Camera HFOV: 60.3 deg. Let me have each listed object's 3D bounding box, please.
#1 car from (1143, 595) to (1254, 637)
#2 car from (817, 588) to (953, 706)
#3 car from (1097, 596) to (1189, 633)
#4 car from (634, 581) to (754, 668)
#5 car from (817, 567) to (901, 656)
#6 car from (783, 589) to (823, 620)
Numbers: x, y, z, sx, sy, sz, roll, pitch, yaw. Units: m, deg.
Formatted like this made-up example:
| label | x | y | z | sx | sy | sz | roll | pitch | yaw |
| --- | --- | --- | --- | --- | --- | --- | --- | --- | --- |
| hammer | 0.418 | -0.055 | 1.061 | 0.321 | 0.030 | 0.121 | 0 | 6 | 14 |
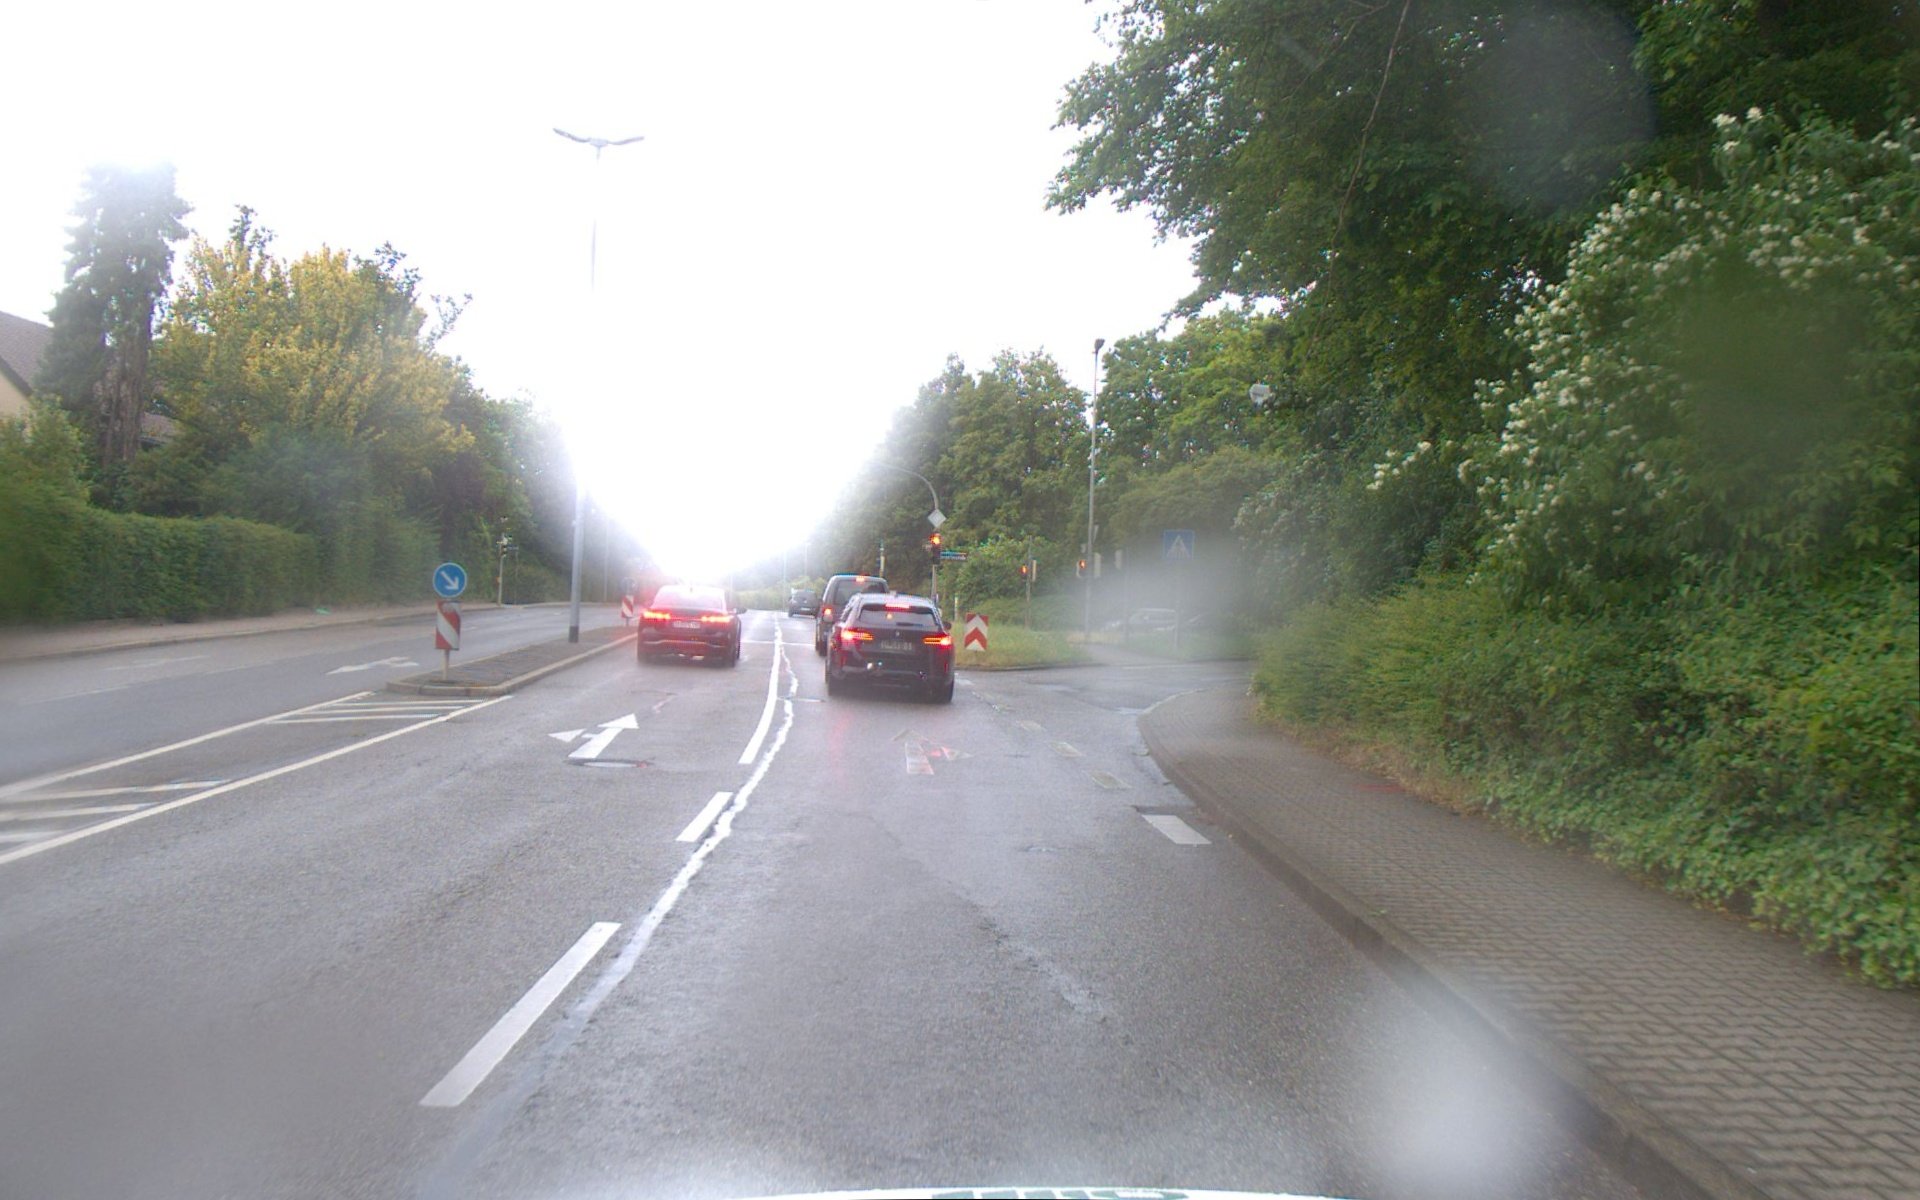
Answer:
| label | x | y | z | sx | sy | sz | roll | pitch | yaw |
| --- | --- | --- | --- | --- | --- | --- | --- | --- | --- |
| car | 9.240 | 0.611 | 64.218 | 3.910 | 1.535 | 1.899 | 1 | 0 | -6 |
| car | -1.146 | 0.699 | 25.895 | 1.860 | 1.578 | 4.613 | 3 | -1 | -2 |
| car | 7.443 | 0.593 | 67.505 | 3.435 | 1.452 | 1.701 | -1 | 0 | -6 |
| car | -5.048 | 0.443 | 31.880 | 1.955 | 1.554 | 4.323 | 0 | 0 | -5 |
| car | -2.436 | 0.266 | 39.130 | 1.782 | 1.901 | 3.948 | 3 | 0 | -5 |
| car | -8.471 | 0.238 | 89.065 | 1.956 | 1.652 | 3.944 | 0 | 0 | -9 |
